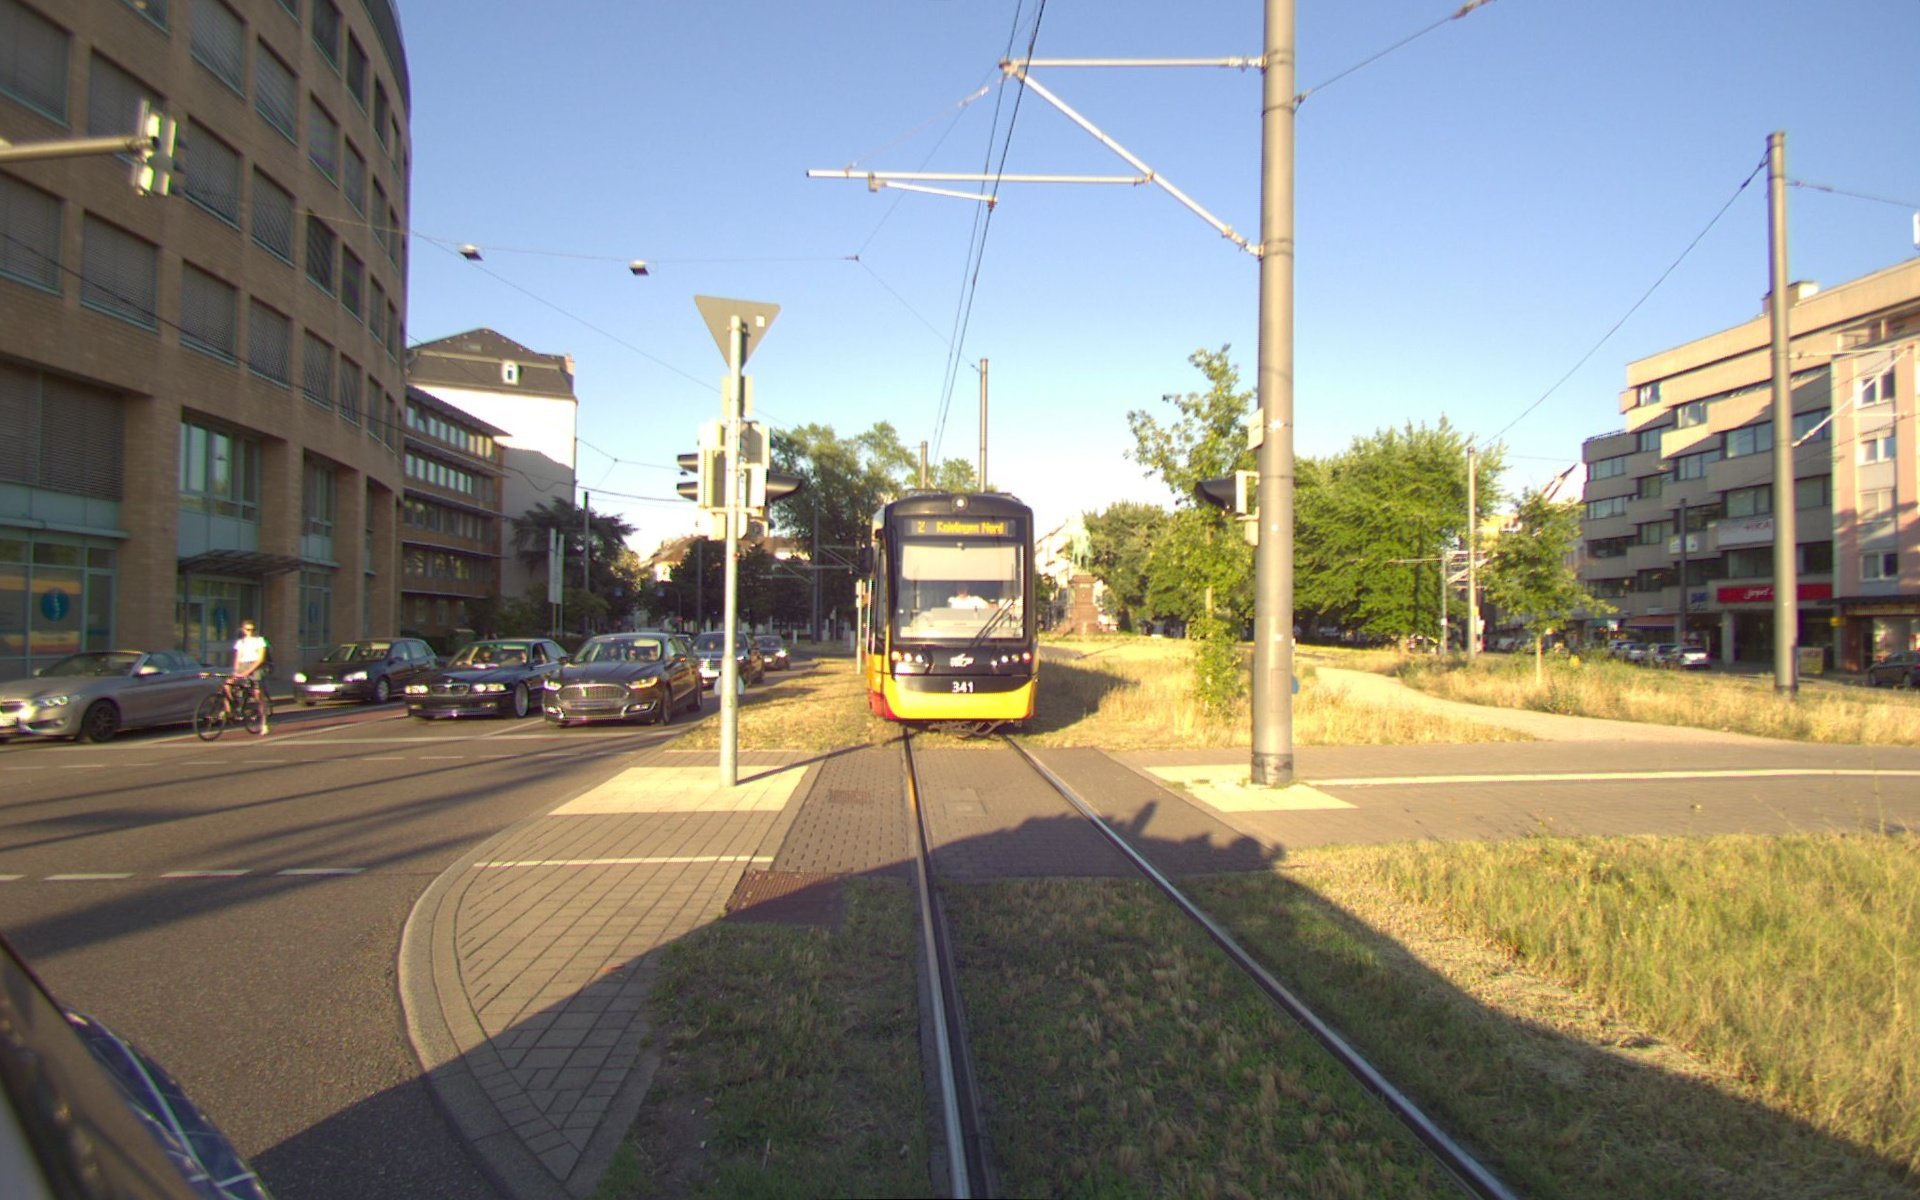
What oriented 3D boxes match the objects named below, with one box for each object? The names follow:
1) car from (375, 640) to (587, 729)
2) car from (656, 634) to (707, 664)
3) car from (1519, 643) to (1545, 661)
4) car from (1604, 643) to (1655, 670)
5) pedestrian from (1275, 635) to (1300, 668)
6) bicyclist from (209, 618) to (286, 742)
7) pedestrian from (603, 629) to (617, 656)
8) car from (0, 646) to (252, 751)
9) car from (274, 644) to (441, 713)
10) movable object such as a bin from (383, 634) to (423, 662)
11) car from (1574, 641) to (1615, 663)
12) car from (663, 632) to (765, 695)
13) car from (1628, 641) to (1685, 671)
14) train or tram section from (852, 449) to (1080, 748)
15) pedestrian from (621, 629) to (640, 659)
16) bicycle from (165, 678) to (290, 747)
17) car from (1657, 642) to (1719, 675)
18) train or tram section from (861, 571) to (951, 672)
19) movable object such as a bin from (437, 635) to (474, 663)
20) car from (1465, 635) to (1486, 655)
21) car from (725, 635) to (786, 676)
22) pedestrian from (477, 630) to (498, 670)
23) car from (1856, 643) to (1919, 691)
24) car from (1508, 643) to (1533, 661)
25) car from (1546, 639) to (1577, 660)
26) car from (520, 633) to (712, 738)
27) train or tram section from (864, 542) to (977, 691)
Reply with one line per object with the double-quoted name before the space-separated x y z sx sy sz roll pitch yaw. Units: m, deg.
"car" -8.709 1.473 18.931 1.970 1.396 4.743 -1 -2 -4
"car" -16.923 2.975 61.664 1.973 1.763 3.998 0 -2 1
"car" 62.784 5.691 111.103 1.987 1.892 3.874 -1 -2 22
"car" 47.831 4.020 72.372 1.983 1.853 3.976 -1 -2 18
"pedestrian" 15.434 2.414 47.672 0.684 1.507 0.919 0 -2 -17
"bicyclist" -10.891 1.206 15.486 0.626 1.835 0.778 0 -2 -5
"pedestrian" -23.878 2.894 69.099 0.718 1.821 0.724 0 -2 -3
"car" -13.466 1.448 16.009 1.723 1.396 4.230 0 -2 -3
"car" -13.661 1.723 23.232 1.733 1.398 4.004 0 -2 -5
"movable object such as a bin" -29.457 2.519 53.564 1.405 1.470 1.334 0 -2 -6
"car" 53.170 4.323 84.896 1.984 1.723 3.976 -1 -2 18
"car" -6.516 1.646 27.333 1.870 1.547 4.708 0 -2 -3
"car" 45.863 3.668 66.753 1.983 1.876 3.976 -1 -2 18
"train or tram section" -0.446 0.189 19.423 2.874 3.767 13.230 0 -2 -5
"pedestrian" -21.486 2.867 66.054 0.898 1.909 1.127 0 -2 -3
"bicycle" -10.862 1.644 15.083 0.626 0.880 1.872 0 -2 -5
"car" 44.312 3.532 61.702 1.910 1.878 3.975 -1 -2 18
"train or tram section" -2.600 0.998 43.754 2.869 3.767 12.211 0 -2 -8
"movable object such as a bin" -26.481 2.554 53.158 1.405 1.470 1.335 0 -2 -7
"car" 57.698 5.043 113.337 1.990 2.029 3.963 -2 -2 27
"car" -7.728 2.075 38.596 1.969 1.472 4.149 0 -2 -7
"pedestrian" -20.479 2.150 43.856 0.618 1.694 0.715 0 -2 -7
"car" 36.135 2.481 38.148 1.982 1.714 3.978 -1 -2 16
"car" 64.483 5.977 116.455 1.987 2.029 3.969 -1 -2 22
"car" 57.240 4.687 96.313 1.988 1.996 3.968 -1 -2 24
"car" -5.539 1.317 16.986 1.864 1.497 4.728 0 -2 -3
"train or tram section" -1.396 0.603 31.760 2.844 3.767 12.192 0 -2 -4
